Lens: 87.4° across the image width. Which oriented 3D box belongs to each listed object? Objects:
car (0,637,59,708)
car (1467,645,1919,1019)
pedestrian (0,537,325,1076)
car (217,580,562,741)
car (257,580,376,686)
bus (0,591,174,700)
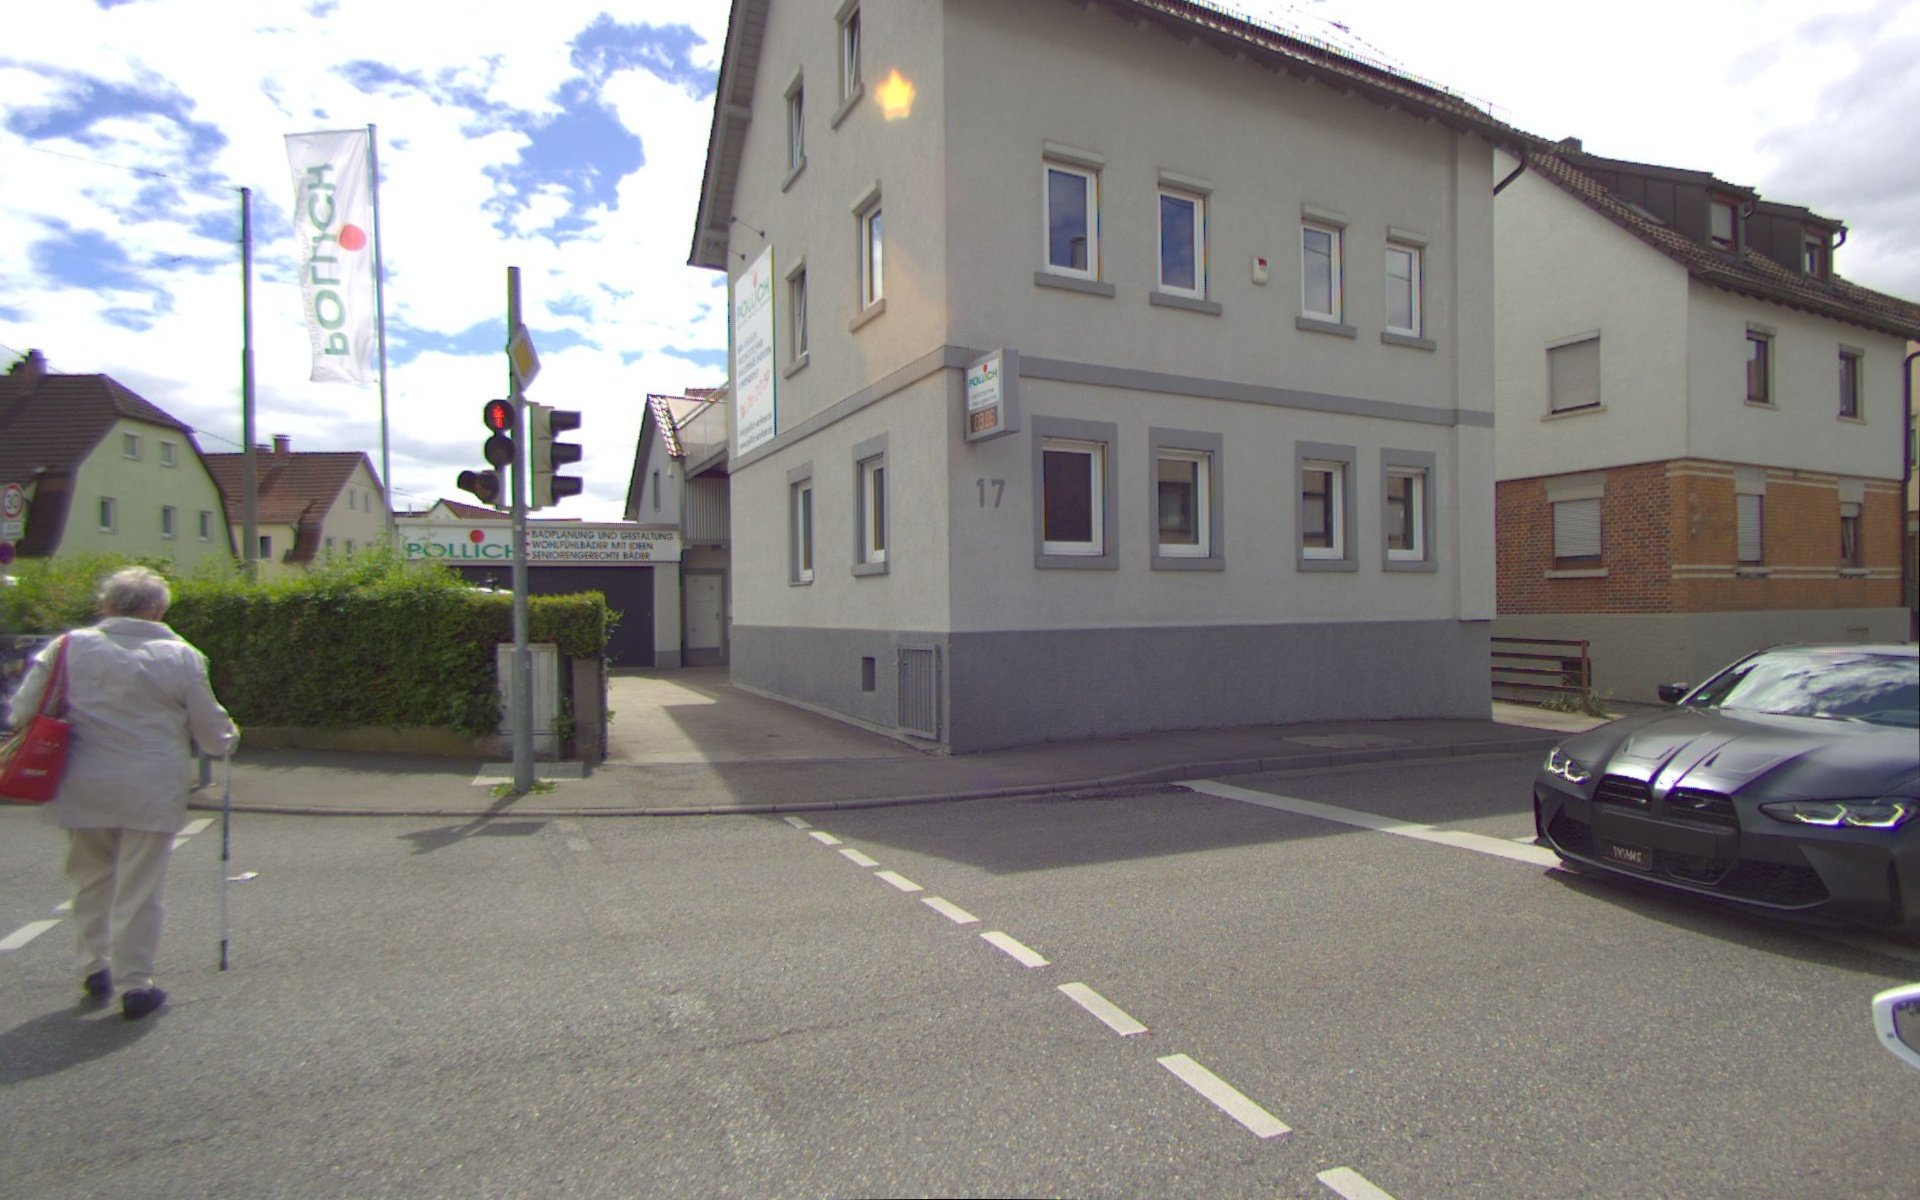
[{"bbox_3d":[-23.611,1.697,23.117,1.961,1.661,4.184,-1,-2,-1],"label":"car"},{"bbox_3d":[5.442,1.037,6.093,4.560,1.476,1.986,1,-3,-29],"label":"car"},{"bbox_3d":[-3.041,0.658,3.684,0.857,1.659,0.836,-1,-3,26],"label":"pedestrian"},{"bbox_3d":[-7.816,0.789,14.149,3.949,1.973,1.986,0,-2,-27],"label":"car"},{"bbox_3d":[-14.055,0.752,22.161,1.977,2.040,5.083,1,-2,-31],"label":"car"},{"bbox_3d":[-27.364,1.313,28.780,2.733,2.953,9.190,-1,-2,-2],"label":"bus"}]
